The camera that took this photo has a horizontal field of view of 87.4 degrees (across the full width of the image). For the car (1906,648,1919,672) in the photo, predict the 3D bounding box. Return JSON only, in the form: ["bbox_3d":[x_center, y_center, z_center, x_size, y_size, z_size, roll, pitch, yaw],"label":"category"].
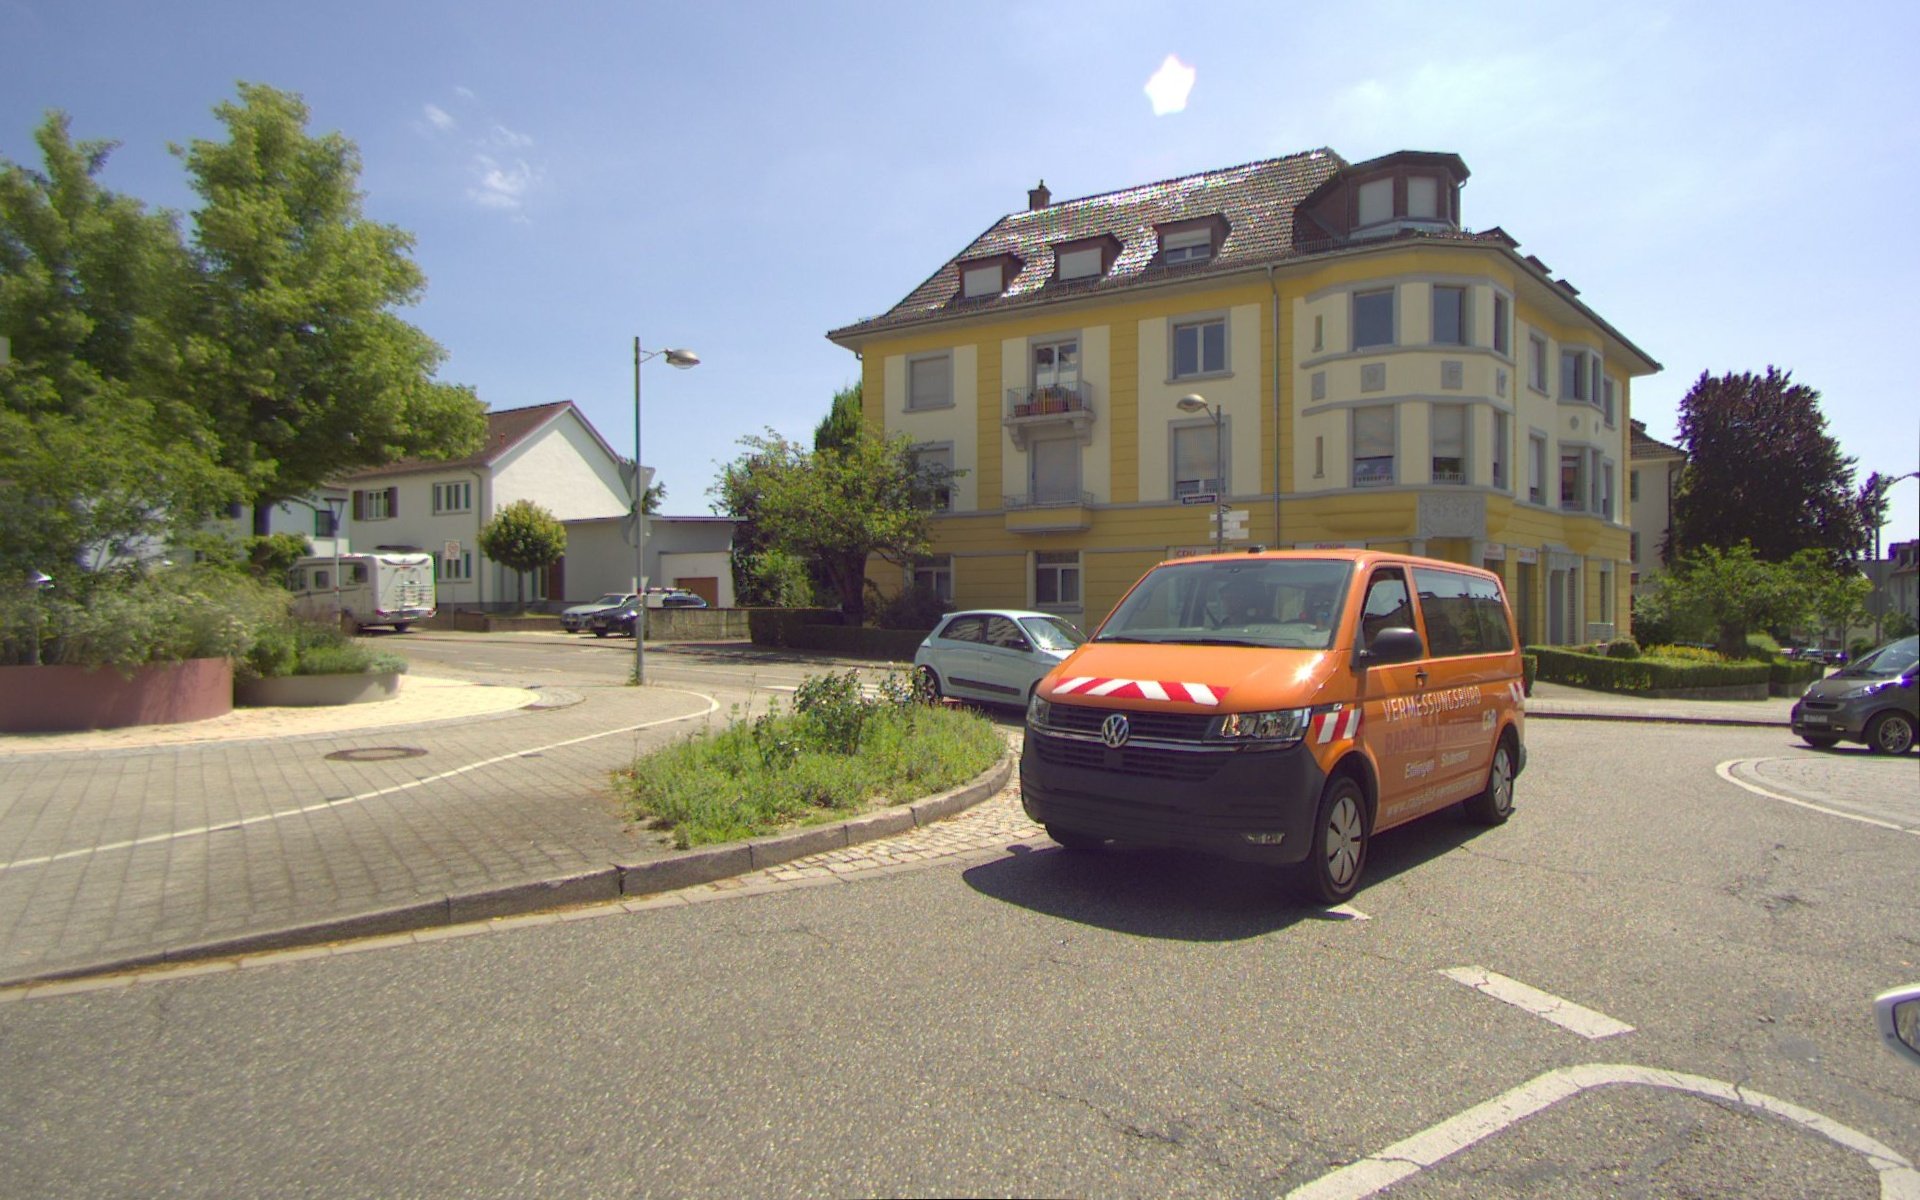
[{"bbox_3d":[63.327,3.922,65.167,1.965,1.529,4.410,1,-1,31],"label":"car"}]

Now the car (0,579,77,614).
[{"bbox_3d":[-42.762,-0.151,46.404,3.920,1.525,1.754,1,-1,29],"label":"car"}]

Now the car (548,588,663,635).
[{"bbox_3d":[-13.092,0.447,37.294,1.723,1.607,3.990,1,-1,24],"label":"car"}]

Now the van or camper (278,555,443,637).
[{"bbox_3d":[-20.959,-0.225,35.089,5.778,2.674,2.271,1,2,28],"label":"van or camper"}]

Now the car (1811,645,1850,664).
[{"bbox_3d":[79.870,4.976,92.182,1.965,1.529,4.410,1,-1,31],"label":"car"}]

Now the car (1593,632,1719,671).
[{"bbox_3d":[30.900,2.268,44.776,4.336,1.529,1.998,1,-1,26],"label":"car"}]

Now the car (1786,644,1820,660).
[{"bbox_3d":[85.841,5.266,102.311,1.965,1.529,4.410,1,-1,31],"label":"car"}]

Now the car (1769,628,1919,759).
[{"bbox_3d":[12.343,1.181,12.791,2.732,1.550,1.571,2,-1,14],"label":"car"}]

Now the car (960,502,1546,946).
[{"bbox_3d":[2.395,0.635,7.006,1.923,1.985,4.993,-1,-2,43],"label":"car"}]

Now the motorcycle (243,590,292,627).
[{"bbox_3d":[-25.810,0.313,37.483,0.727,1.337,2.227,2,-1,-15],"label":"motorcycle"}]

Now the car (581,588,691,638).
[{"bbox_3d":[-11.100,0.451,34.684,1.721,1.607,3.994,1,-1,15],"label":"car"}]

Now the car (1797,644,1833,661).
[{"bbox_3d":[82.773,5.083,97.287,1.965,1.529,4.410,1,-1,31],"label":"car"}]

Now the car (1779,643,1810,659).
[{"bbox_3d":[88.699,5.394,106.767,1.965,1.508,3.991,2,0,32],"label":"car"}]

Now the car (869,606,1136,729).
[{"bbox_3d":[0.550,0.931,15.602,1.650,1.545,4.106,1,1,-45],"label":"car"}]

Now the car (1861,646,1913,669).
[{"bbox_3d":[69.091,4.262,74.926,1.965,1.529,4.410,1,-1,31],"label":"car"}]
